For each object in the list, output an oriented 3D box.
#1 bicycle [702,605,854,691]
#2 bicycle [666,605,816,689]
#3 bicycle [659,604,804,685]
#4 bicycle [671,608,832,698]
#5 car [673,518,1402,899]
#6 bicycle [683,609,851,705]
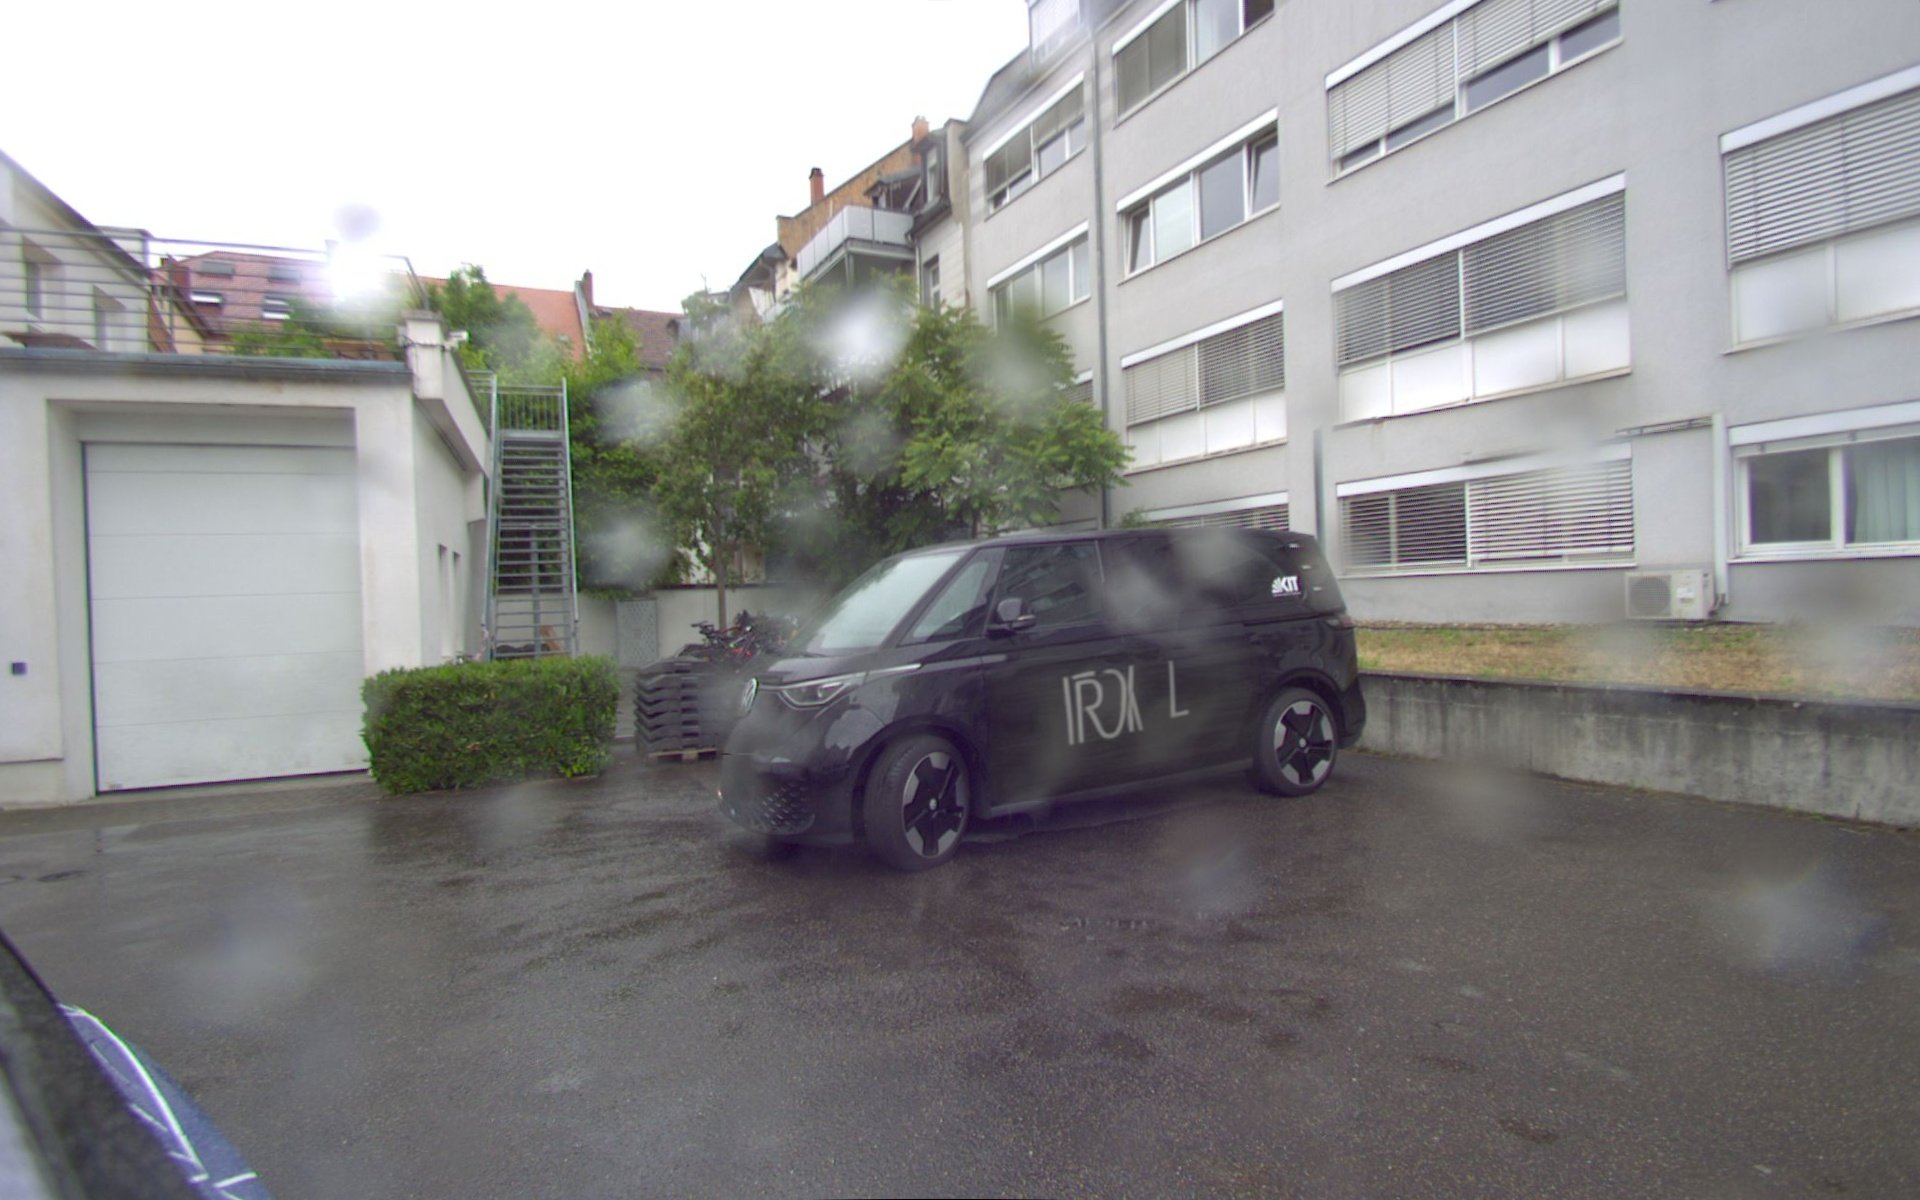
[{"bbox_3d":[-2.902,0.737,16.203,2.281,1.195,0.645,-2,2,-21],"label":"bicycle"},{"bbox_3d":[-3.562,0.745,16.487,2.281,1.195,0.645,-2,2,-21],"label":"bicycle"},{"bbox_3d":[-3.843,0.730,17.058,2.281,1.195,0.645,-2,2,-21],"label":"bicycle"},{"bbox_3d":[-3.158,0.777,15.386,2.281,1.195,0.645,-2,2,-21],"label":"bicycle"},{"bbox_3d":[0.610,0.479,6.944,4.552,1.850,1.994,-3,-1,-29],"label":"car"},{"bbox_3d":[-2.786,0.795,14.672,2.281,1.195,0.645,-2,2,-21],"label":"bicycle"}]
